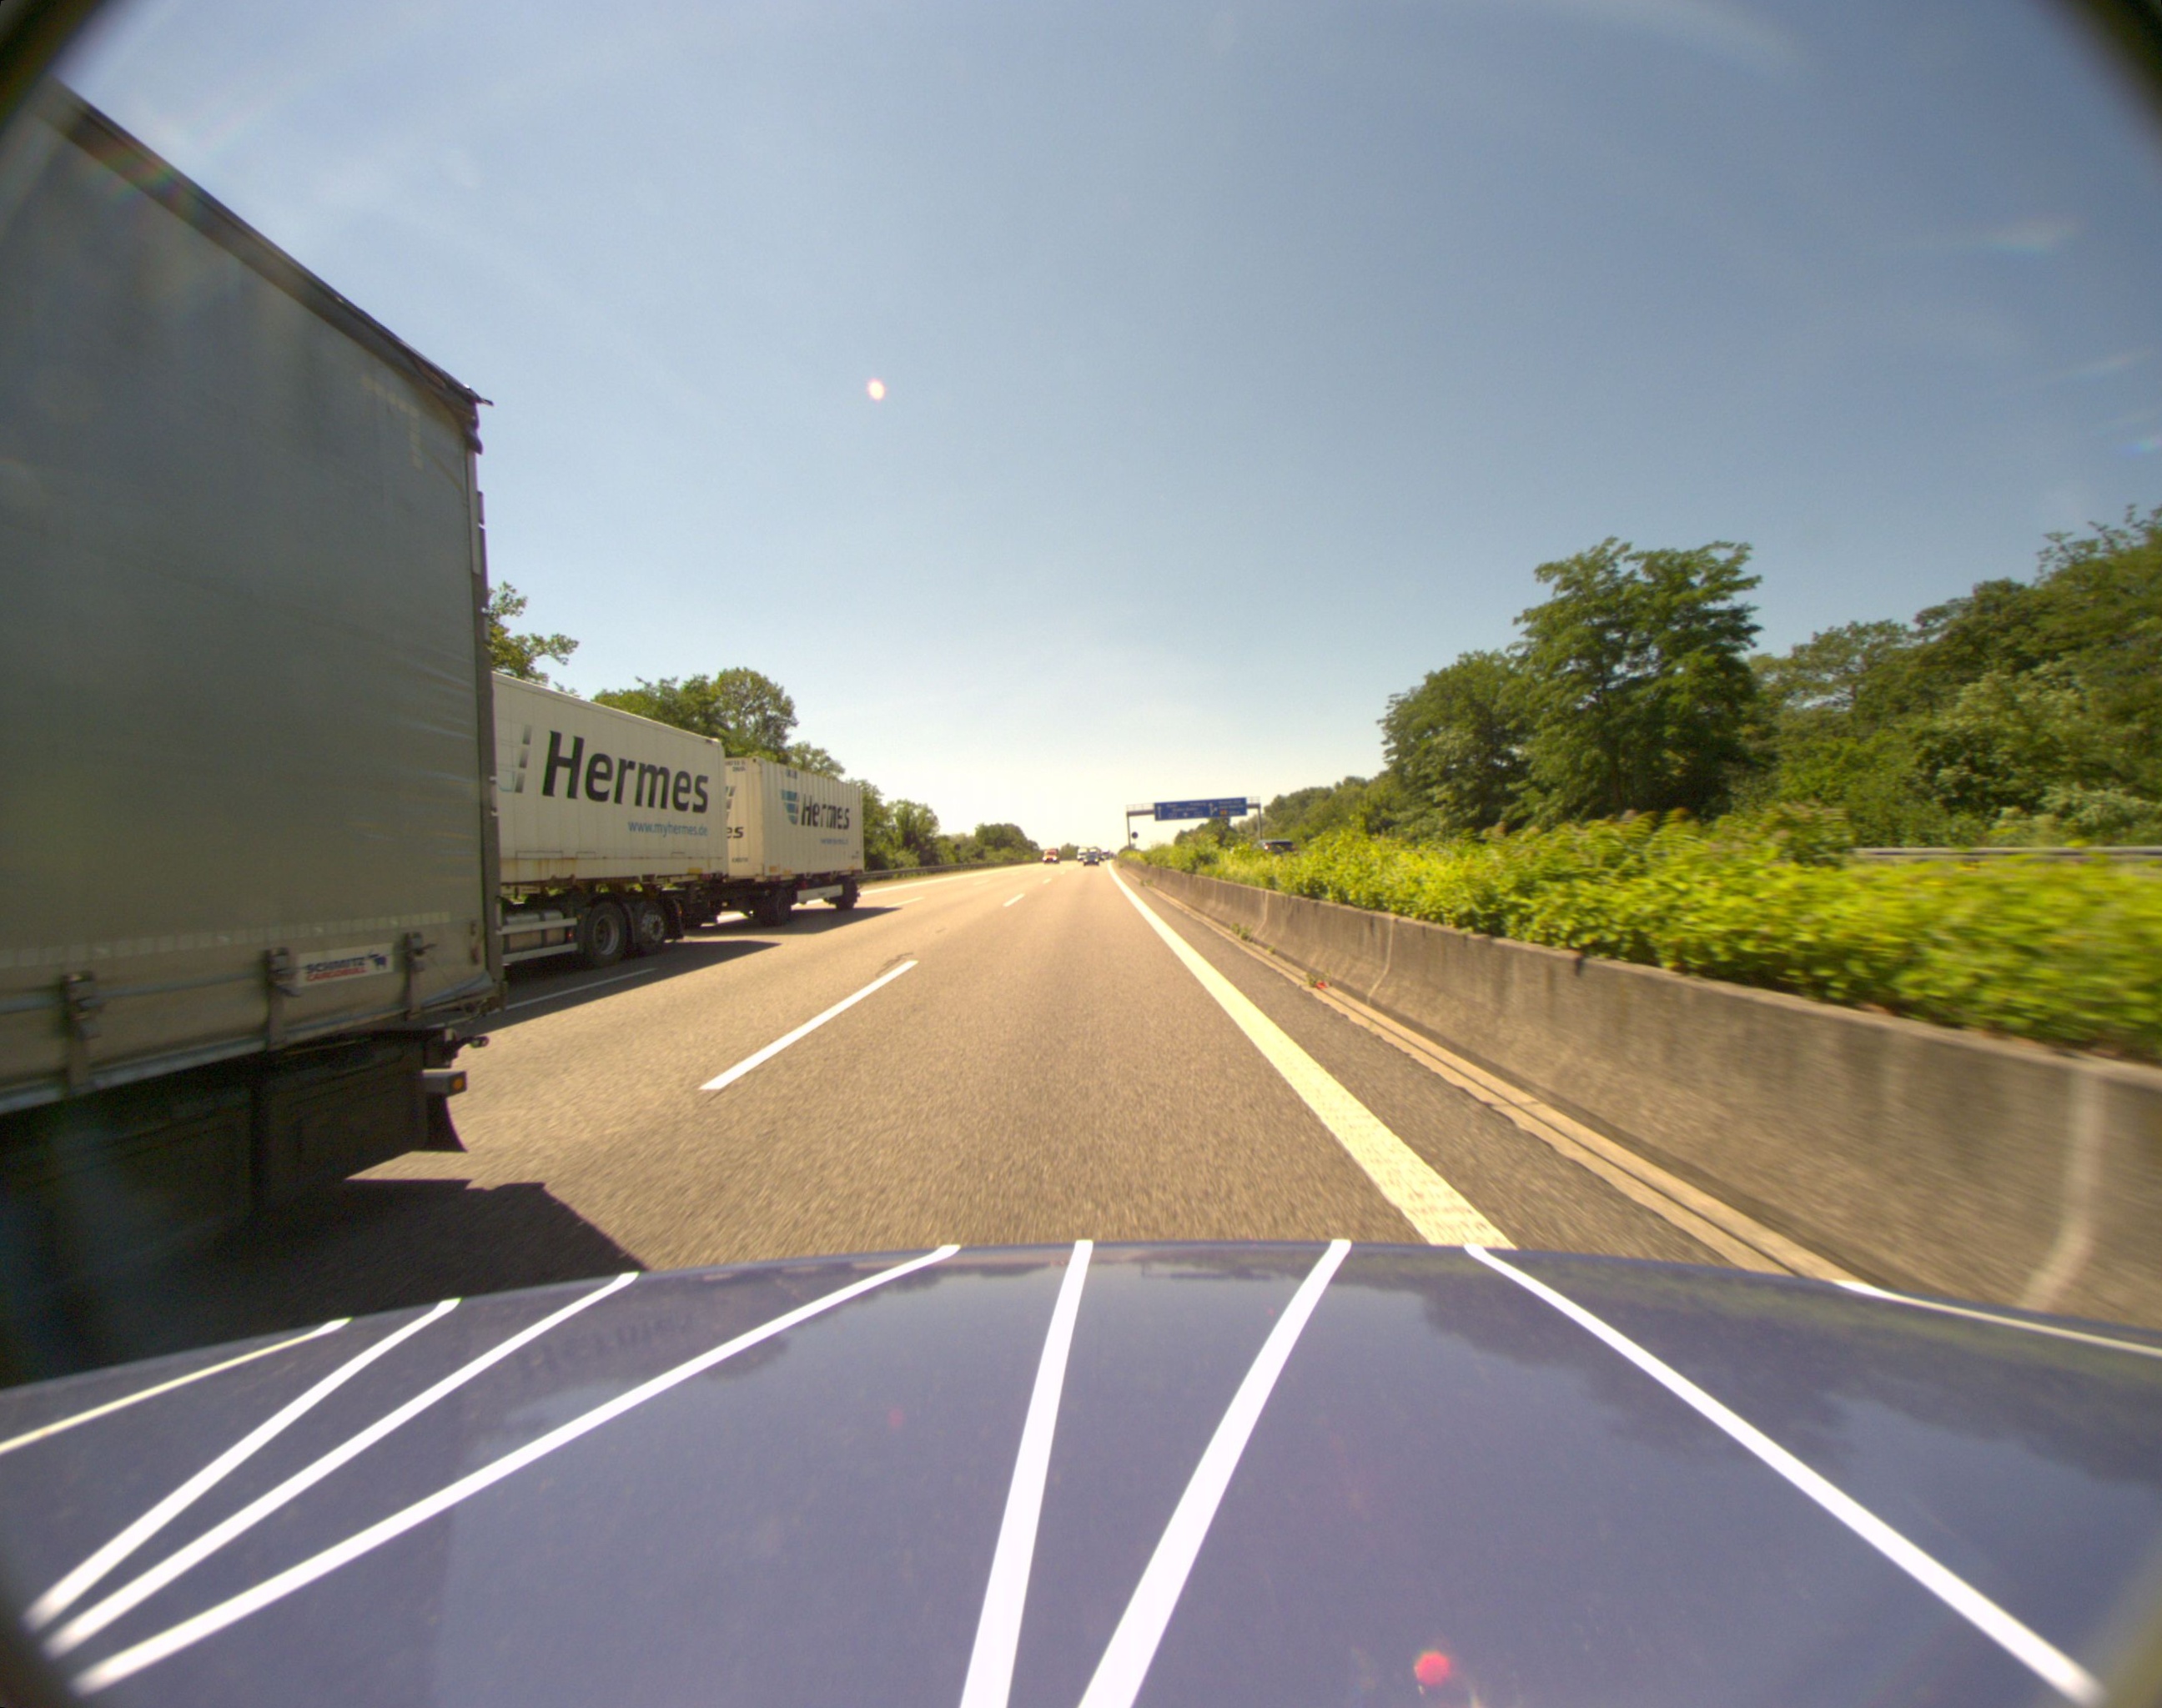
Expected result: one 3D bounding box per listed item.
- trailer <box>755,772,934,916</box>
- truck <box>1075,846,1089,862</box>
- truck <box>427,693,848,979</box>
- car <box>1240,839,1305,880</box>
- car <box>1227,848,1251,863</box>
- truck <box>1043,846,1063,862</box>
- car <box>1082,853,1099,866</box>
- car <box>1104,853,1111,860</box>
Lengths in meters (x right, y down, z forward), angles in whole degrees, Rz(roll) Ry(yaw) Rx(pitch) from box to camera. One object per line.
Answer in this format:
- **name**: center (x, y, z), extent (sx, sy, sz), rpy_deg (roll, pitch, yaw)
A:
- **trailer**: center (-7.893, -0.316, 27.464), extent (2.561, 4.036, 11.263), rpy_deg (-2, 0, 1)
- **truck**: center (0.235, 0.046, 161.763), extent (2.859, 3.163, 10.710), rpy_deg (-2, 0, 0)
- **truck**: center (-8.131, -0.286, 16.477), extent (2.532, 4.106, 10.669), rpy_deg (-2, 0, 1)
- **car**: center (9.294, 0.234, 37.346), extent (1.879, 1.810, 5.142), rpy_deg (-2, 0, 0)
- **car**: center (18.460, 0.137, 88.903), extent (1.818, 1.676, 4.762), rpy_deg (-2, 0, 1)
- **truck**: center (-4.687, -0.040, 128.854), extent (2.436, 2.426, 10.011), rpy_deg (-2, 0, 3)
- **car**: center (1.135, 0.659, 88.128), extent (1.800, 1.390, 4.833), rpy_deg (-2, 0, 1)
- **car**: center (7.551, 0.707, 214.538), extent (1.879, 1.630, 4.000), rpy_deg (-2, 0, 2)
